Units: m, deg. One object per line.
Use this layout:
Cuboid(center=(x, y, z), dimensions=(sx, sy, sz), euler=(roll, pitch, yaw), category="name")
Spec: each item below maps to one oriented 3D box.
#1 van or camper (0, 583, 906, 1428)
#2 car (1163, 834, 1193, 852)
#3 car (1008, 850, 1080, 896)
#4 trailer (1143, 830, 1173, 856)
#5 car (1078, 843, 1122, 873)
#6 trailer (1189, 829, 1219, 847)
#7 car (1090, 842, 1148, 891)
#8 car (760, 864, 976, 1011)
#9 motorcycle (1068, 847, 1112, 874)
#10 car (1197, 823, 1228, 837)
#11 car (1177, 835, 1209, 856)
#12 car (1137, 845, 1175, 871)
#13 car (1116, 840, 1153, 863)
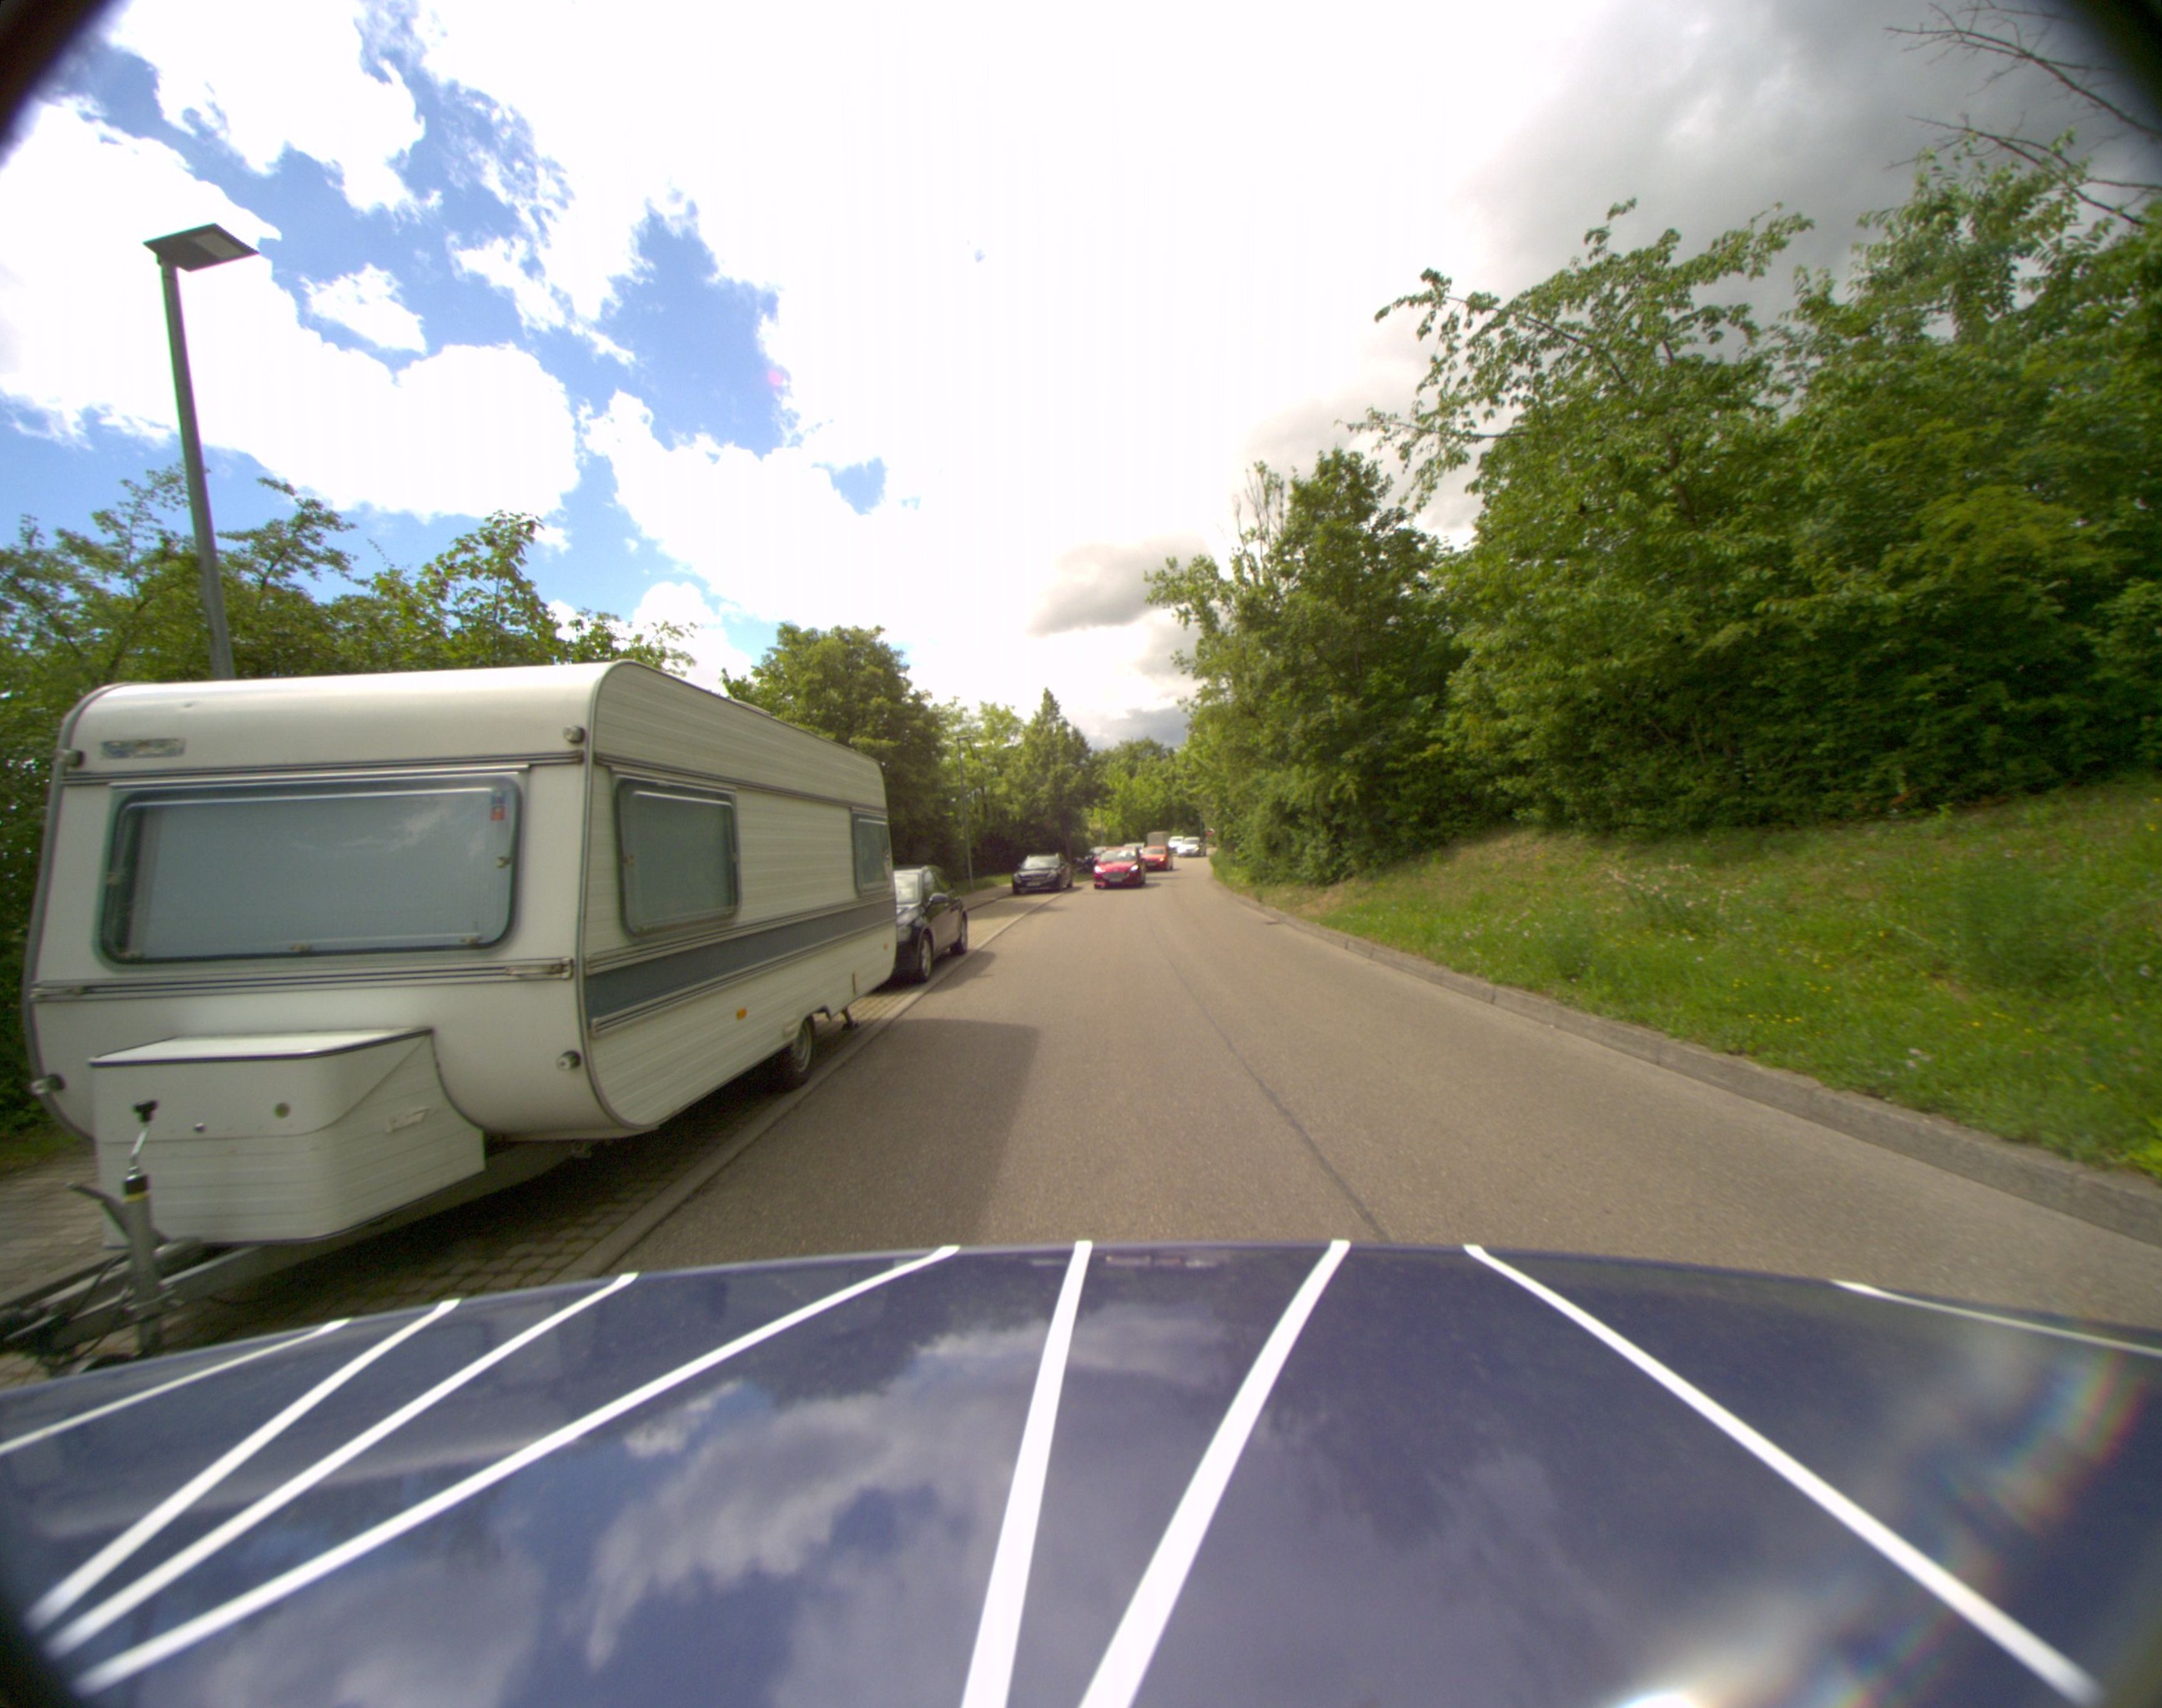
Cuboid(center=(-2.969, 0.473, 4.873), dimensions=(2.360, 2.539, 5.074), euler=(-3, 1, 0), category="van or camper")
Cuboid(center=(9.096, -1.055, 71.113), dimensions=(1.707, 1.469, 3.787), euler=(-1, 3, 23), category="car")
Cuboid(center=(-1.348, 0.671, 29.648), dimensions=(1.896, 1.521, 4.548), euler=(-4, 0, 8), category="car")
Cuboid(center=(6.639, -0.956, 65.560), dimensions=(1.732, 2.067, 3.786), euler=(-1, 3, 18), category="trailer")
Cuboid(center=(1.216, 0.204, 45.886), dimensions=(1.772, 1.509, 4.110), euler=(-3, 2, 14), category="car")
Cuboid(center=(12.987, -1.696, 79.838), dimensions=(1.811, 1.570, 4.495), euler=(-1, 3, 27), category="trailer")
Cuboid(center=(1.641, 0.451, 31.263), dimensions=(1.911, 1.689, 4.387), euler=(-1, 3, 8), category="car")
Cuboid(center=(-2.710, 0.976, 10.804), dimensions=(1.686, 1.442, 4.479), euler=(-4, 1, 0), category="car")
Cuboid(center=(0.493, 0.360, 42.202), dimensions=(2.306, 1.468, 0.977), euler=(0, 3, 37), category="motorcycle")
Cuboid(center=(16.734, -3.023, 96.537), dimensions=(1.654, 1.510, 3.478), euler=(-8, 5, -43), category="car")
Cuboid(center=(9.442, -0.755, 63.752), dimensions=(1.793, 1.500, 4.117), euler=(-3, 2, 21), category="car")
Cuboid(center=(4.556, 0.185, 45.630), dimensions=(1.794, 1.405, 4.116), euler=(-1, 2, 12), category="car")
Cuboid(center=(4.082, -0.239, 57.241), dimensions=(1.865, 1.469, 4.905), euler=(-1, 2, 15), category="car")
